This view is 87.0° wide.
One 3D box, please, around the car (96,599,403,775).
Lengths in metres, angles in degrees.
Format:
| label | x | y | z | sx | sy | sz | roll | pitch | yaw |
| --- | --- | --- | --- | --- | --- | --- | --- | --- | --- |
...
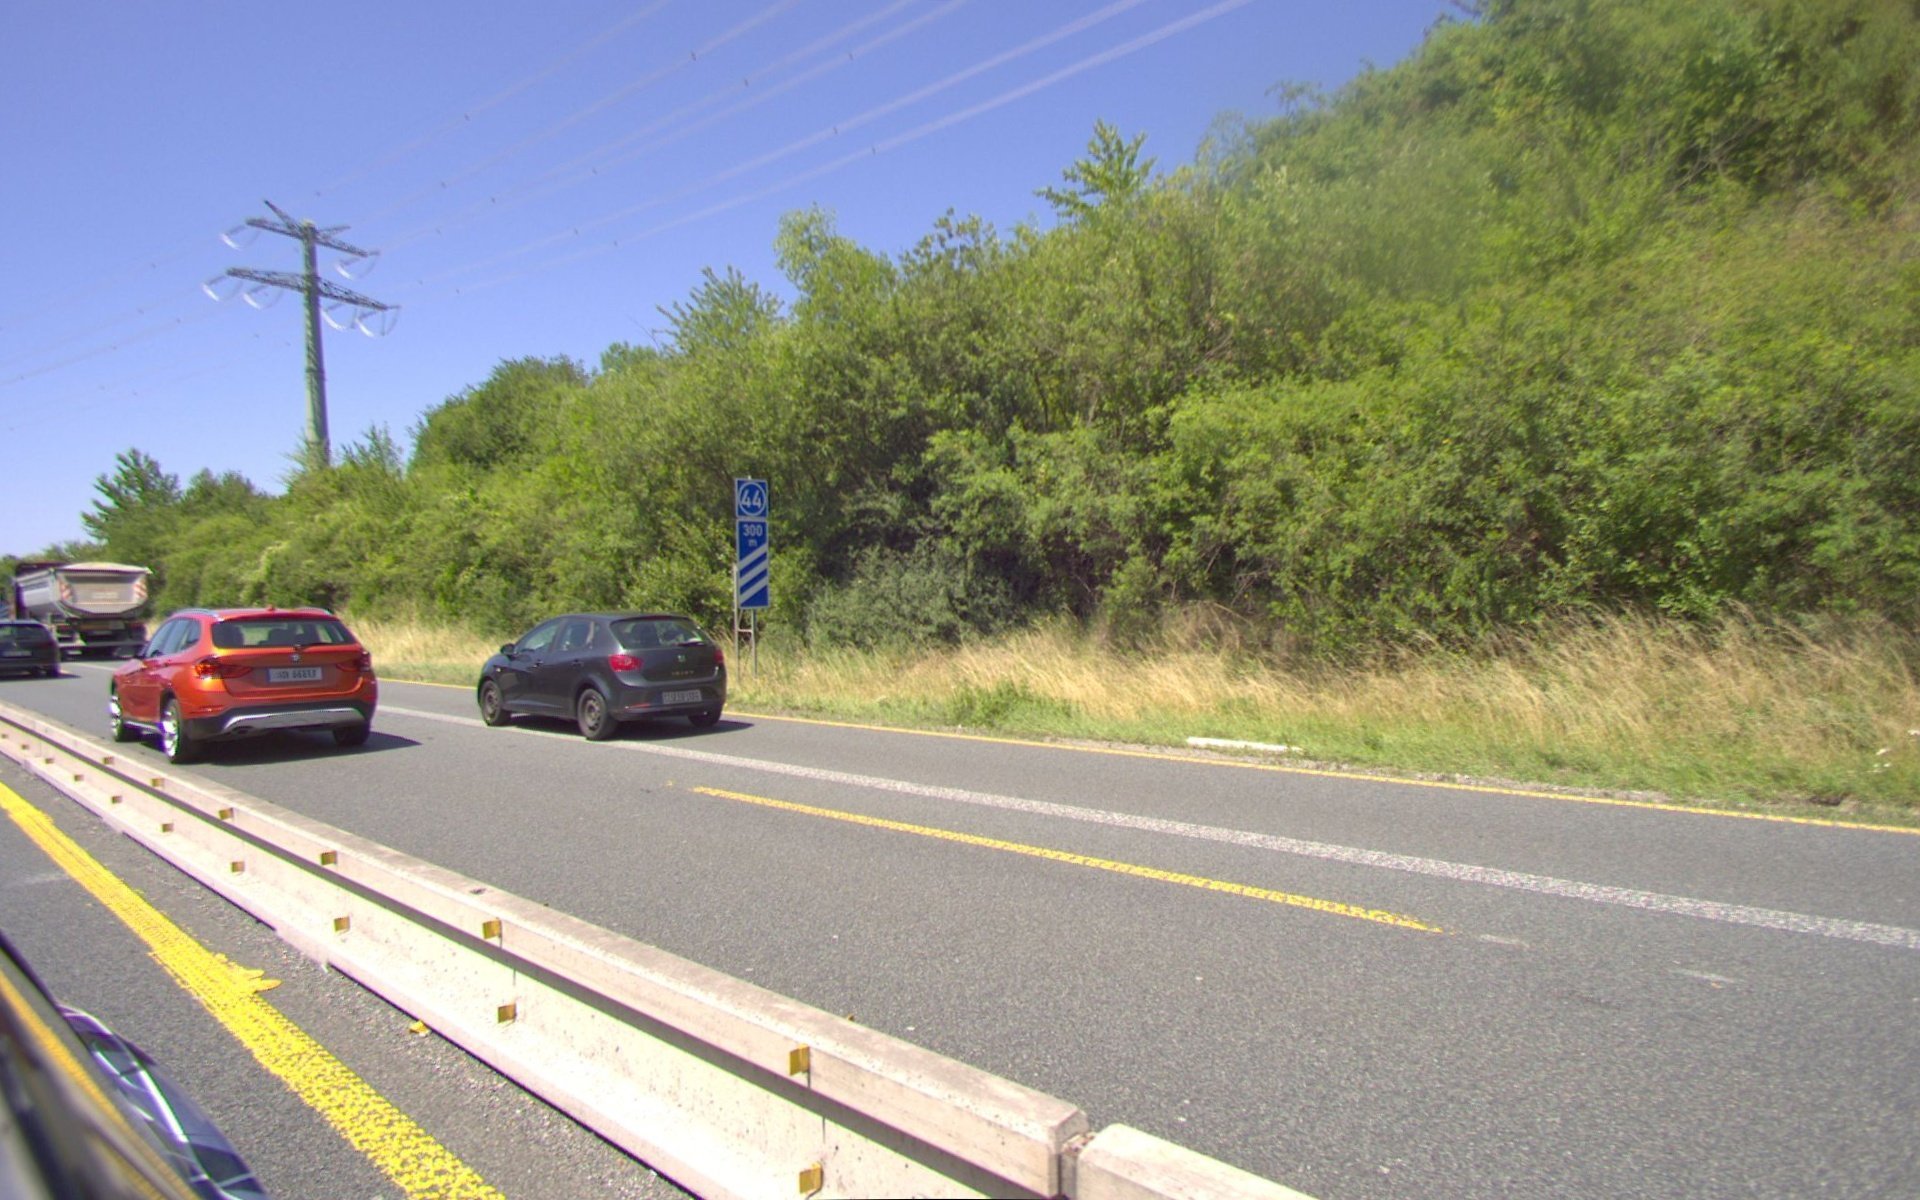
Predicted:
| label | x | y | z | sx | sy | sz | roll | pitch | yaw |
| --- | --- | --- | --- | --- | --- | --- | --- | --- | --- |
| car | -8.117 | 0.818 | 11.409 | 4.274 | 1.601 | 1.879 | -1 | 0 | 41 |

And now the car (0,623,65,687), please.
| label | x | y | z | sx | sy | sz | roll | pitch | yaw |
| --- | --- | --- | --- | --- | --- | --- | --- | --- | --- |
| car | -23.759 | 1.327 | 25.038 | 4.346 | 1.432 | 1.831 | -1 | 0 | 40 |

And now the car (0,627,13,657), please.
| label | x | y | z | sx | sy | sz | roll | pitch | yaw |
| --- | --- | --- | --- | --- | --- | --- | --- | --- | --- |
| car | -48.971 | 2.116 | 50.661 | 4.346 | 1.432 | 1.831 | -1 | 0 | 40 |

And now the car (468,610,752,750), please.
| label | x | y | z | sx | sy | sz | roll | pitch | yaw |
| --- | --- | --- | --- | --- | --- | --- | --- | --- | --- |
| car | -4.348 | 0.853 | 12.347 | 3.640 | 1.432 | 1.663 | -1 | 0 | 40 |

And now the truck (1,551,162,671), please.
| label | x | y | z | sx | sy | sz | roll | pitch | yaw |
| --- | --- | --- | --- | --- | --- | --- | --- | --- | --- |
| truck | -32.342 | 0.396 | 37.014 | 11.374 | 3.804 | 2.905 | -1 | 1 | 42 |
